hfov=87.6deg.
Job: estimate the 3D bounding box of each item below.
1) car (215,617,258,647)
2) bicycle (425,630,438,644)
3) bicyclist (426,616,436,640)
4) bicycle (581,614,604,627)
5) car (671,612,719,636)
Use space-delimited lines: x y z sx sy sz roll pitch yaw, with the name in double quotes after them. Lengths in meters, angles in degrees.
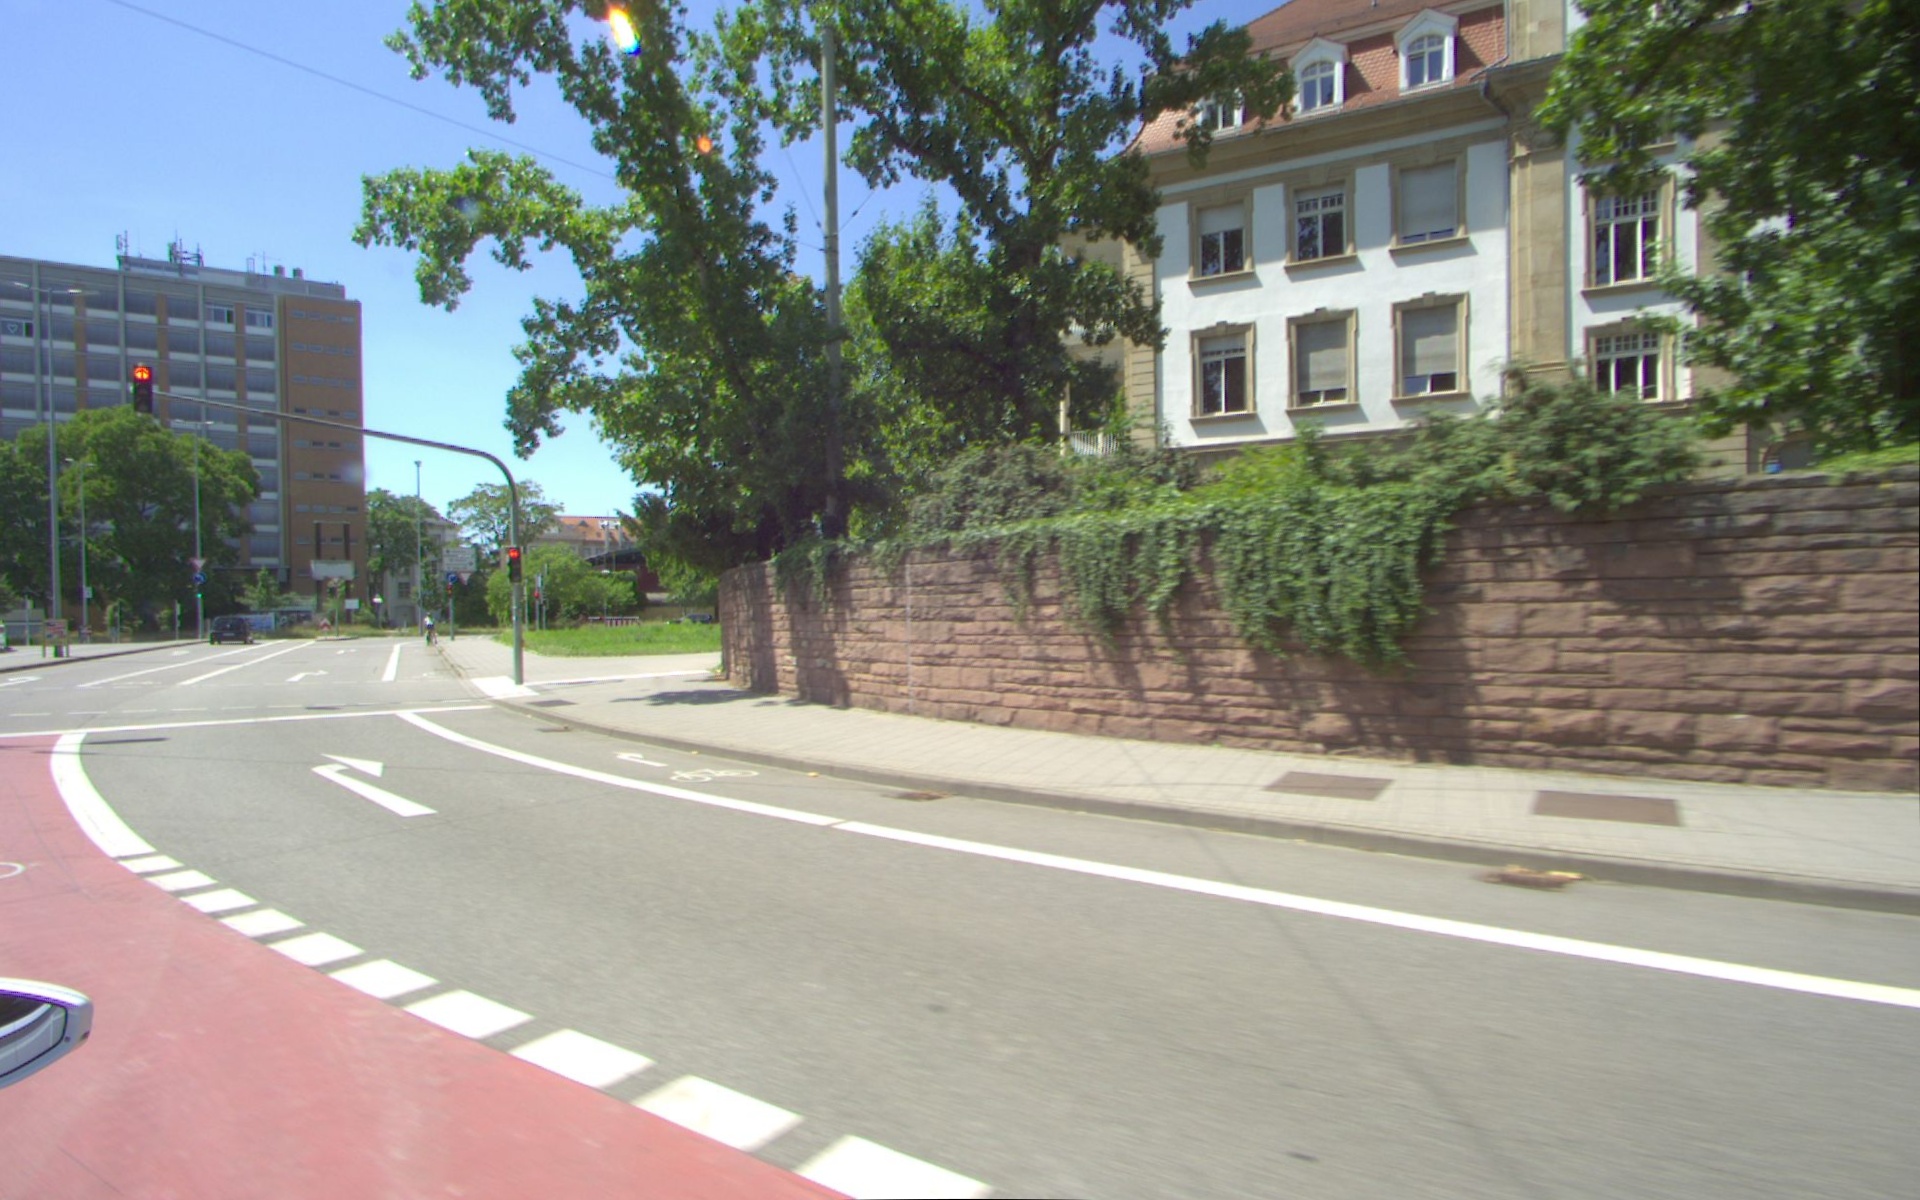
-38.521 1.669 53.271 1.674 1.547 3.660 -1 0 -39 "car"
-27.729 1.935 52.511 0.373 0.654 1.633 -1 0 -36 "bicycle"
-27.749 1.487 52.530 0.348 1.244 0.560 -1 1 -36 "bicyclist"
-34.205 1.929 93.160 1.978 1.150 0.573 -1 -1 -18 "bicycle"
-23.842 2.177 90.161 3.939 2.039 1.464 -1 -1 -27 "car"
